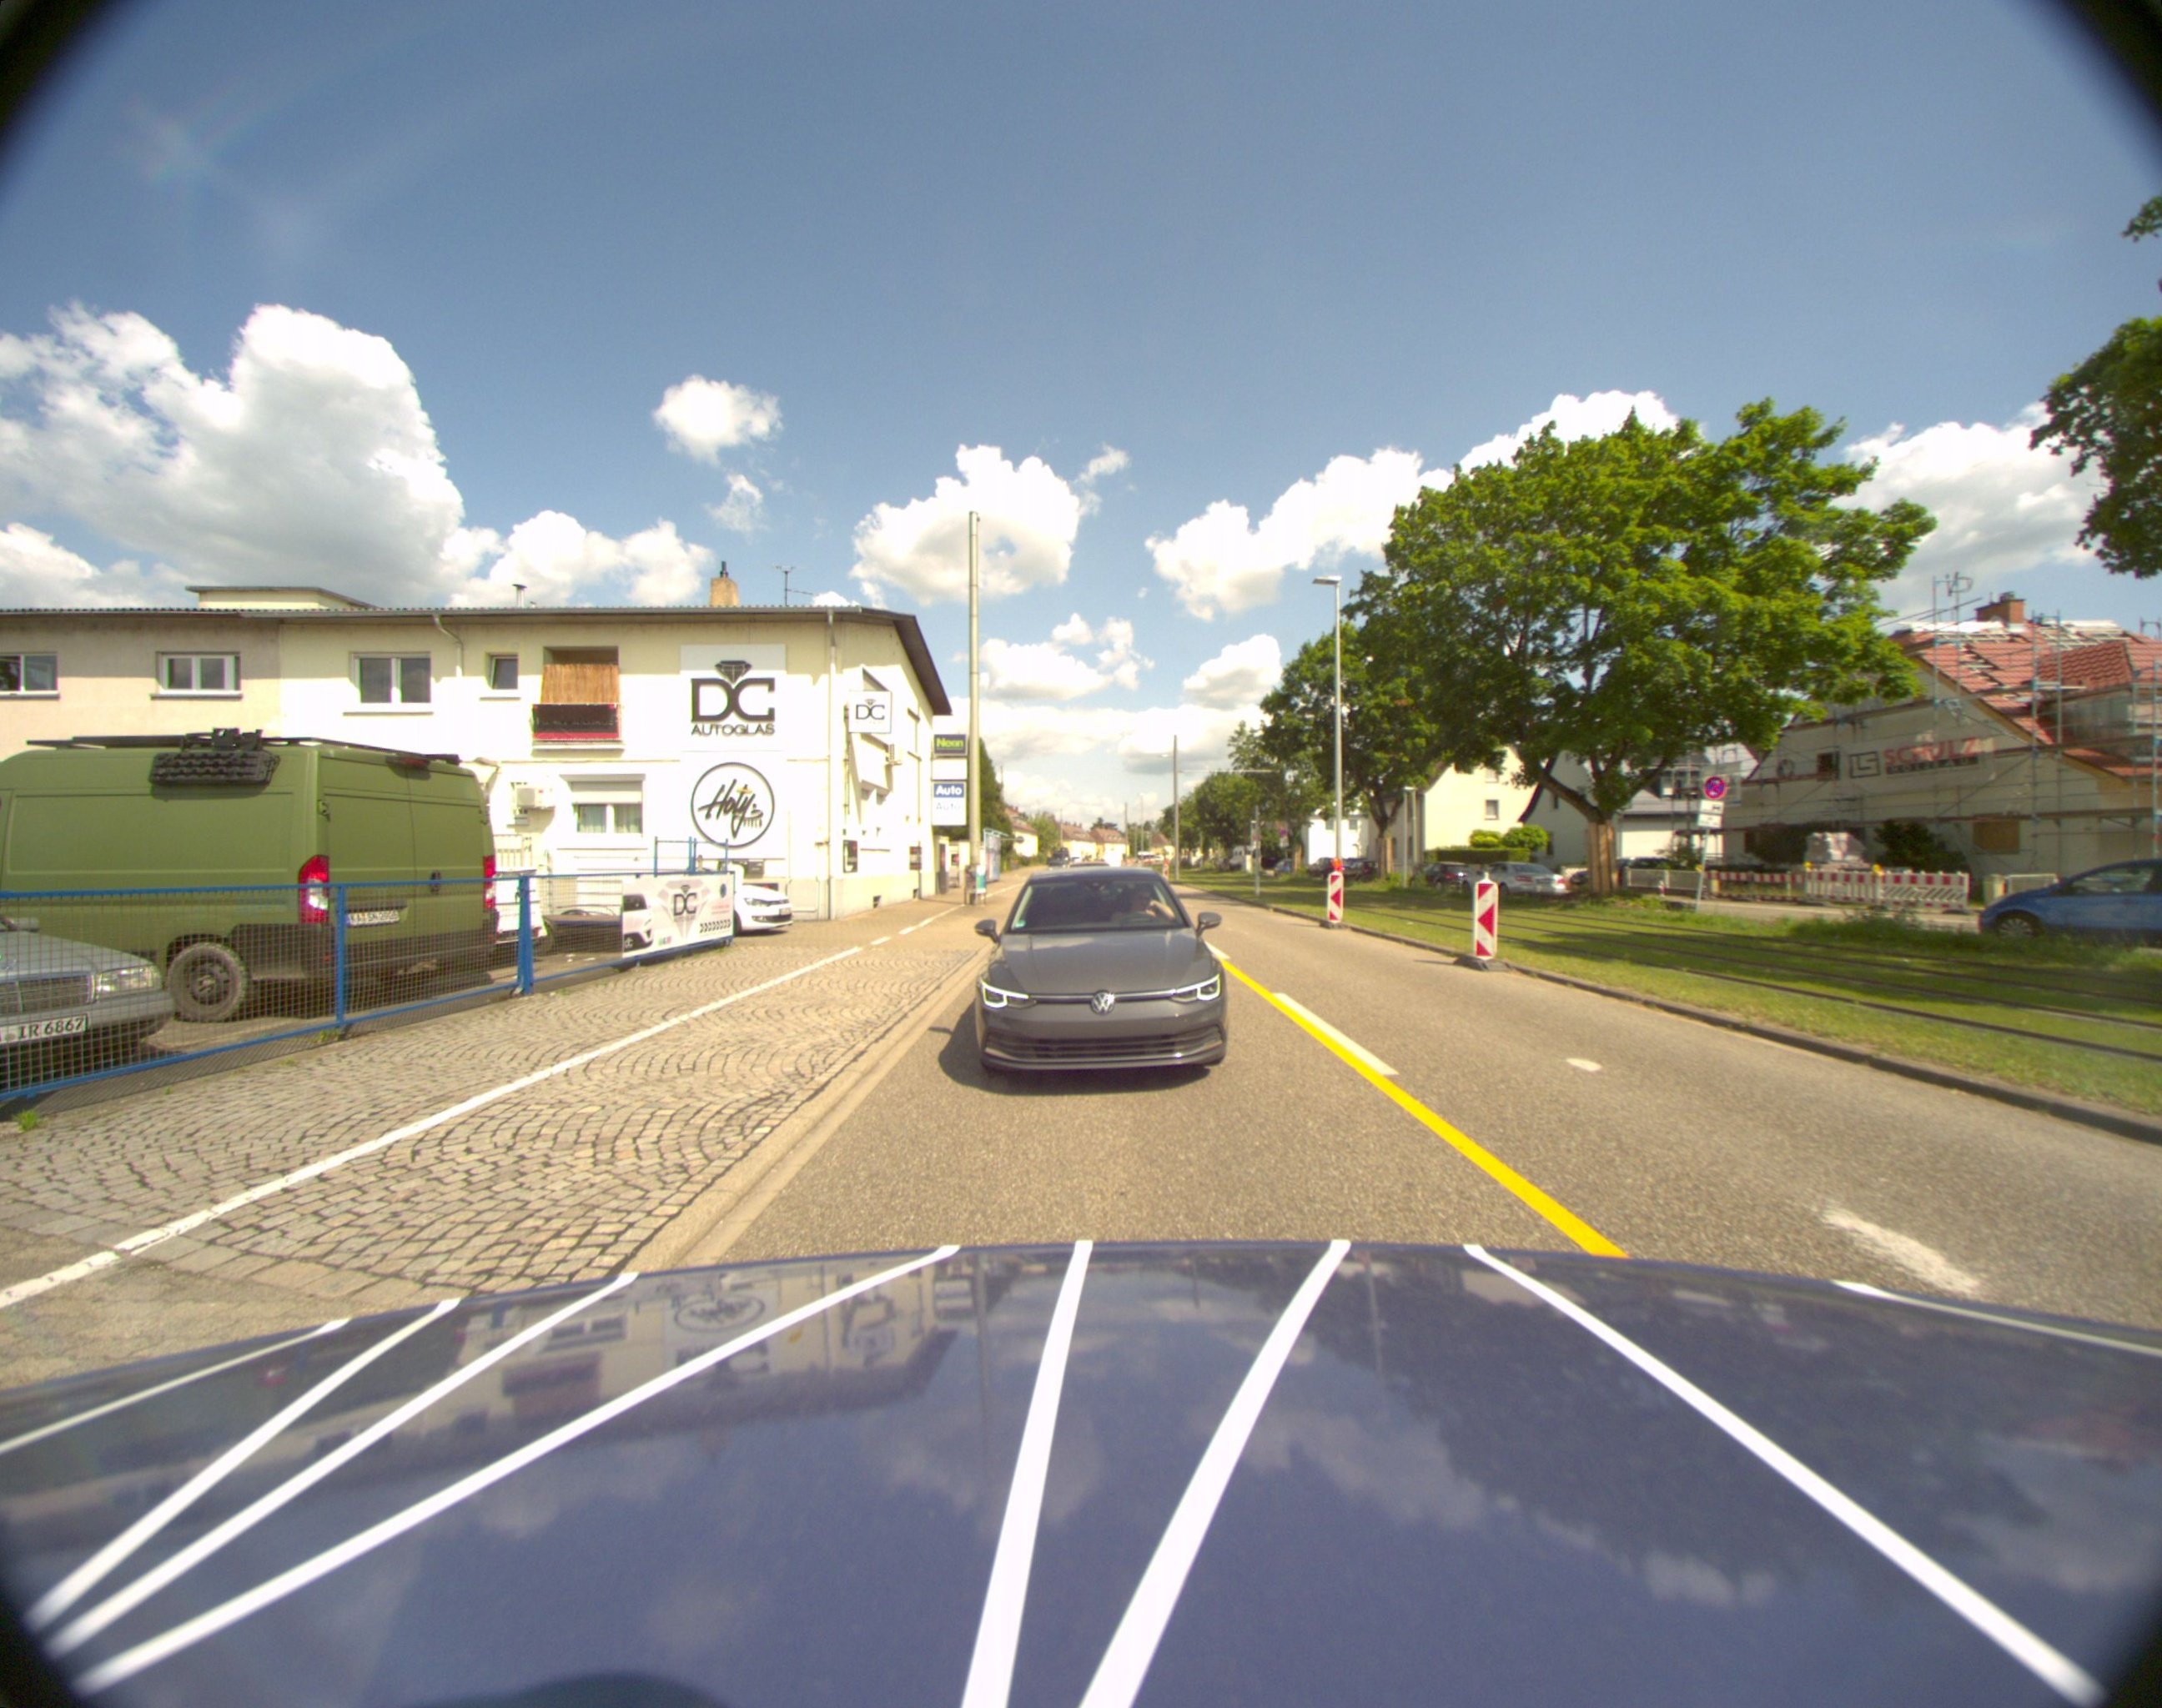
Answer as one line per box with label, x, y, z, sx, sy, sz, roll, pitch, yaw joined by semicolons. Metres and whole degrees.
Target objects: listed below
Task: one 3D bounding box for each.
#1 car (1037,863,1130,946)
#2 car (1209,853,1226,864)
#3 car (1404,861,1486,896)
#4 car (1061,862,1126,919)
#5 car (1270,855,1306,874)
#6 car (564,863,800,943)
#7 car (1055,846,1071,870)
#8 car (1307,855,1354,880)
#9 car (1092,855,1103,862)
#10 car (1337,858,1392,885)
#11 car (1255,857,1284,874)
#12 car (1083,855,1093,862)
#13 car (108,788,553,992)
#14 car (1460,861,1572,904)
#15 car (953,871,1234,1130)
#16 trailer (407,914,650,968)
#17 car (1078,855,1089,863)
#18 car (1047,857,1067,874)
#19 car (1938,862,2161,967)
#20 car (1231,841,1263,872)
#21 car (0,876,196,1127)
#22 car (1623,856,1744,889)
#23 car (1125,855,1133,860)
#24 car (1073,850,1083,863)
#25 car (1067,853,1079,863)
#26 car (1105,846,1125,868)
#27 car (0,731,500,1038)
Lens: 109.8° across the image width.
car;0.073;0.940;15.799;1.702;1.477;4.000;0;0;1
car;18.762;0.674;104.734;1.701;1.477;4.407;-1;-1;2
car;16.618;1.120;34.940;1.702;1.477;4.407;-1;-1;1
car;0.361;0.979;22.195;1.702;1.477;4.000;0;0;1
car;16.637;0.875;61.284;1.702;1.477;4.407;-1;-1;1
car;-7.668;0.915;14.819;3.775;1.454;1.555;0;0;2
car;-1.921;0.449;82.441;1.702;2.510;5.144;0;0;0
car;16.547;0.898;50.663;1.702;1.562;4.407;-1;-1;1
car;3.838;0.912;173.599;1.700;1.574;4.004;0;0;12
car;16.763;1.035;45.158;1.702;1.477;4.407;-1;-1;1
car;17.639;1.077;71.329;1.702;1.477;4.407;-1;-1;1
car;1.434;0.906;155.840;1.701;1.574;4.002;0;0;7
car;-9.436;0.436;9.772;4.207;2.392;1.586;0;0;2
car;16.414;1.066;28.977;1.788;1.477;4.523;-1;-1;2
car;0.102;0.935;6.600;1.702;1.477;4.000;0;0;1
trailer;-8.374;1.305;11.662;2.733;0.662;1.329;0;0;-1
car;0.476;0.902;146.709;1.701;1.574;4.002;0;0;6
car;-2.193;1.046;70.756;1.702;1.574;4.000;0;0;1
car;16.197;0.866;11.402;1.702;1.477;4.407;-1;-1;1
car;16.809;0.273;77.274;2.136;3.019;5.084;-1;-1;1
car;-8.465;0.887;4.776;4.282;1.444;1.713;0;0;8
car;28.899;0.890;36.514;4.402;1.477;1.704;-1;-1;1
car;13.812;0.945;218.685;1.700;1.574;4.005;0;0;16
car;-0.497;0.420;136.405;1.701;2.233;4.947;0;0;2
car;-1.323;0.672;123.042;1.701;1.574;4.001;0;0;3
car;3.895;0.334;88.302;2.090;2.449;5.842;2;0;2
car;-8.732;0.270;7.611;4.207;2.627;2.113;0;0;2
